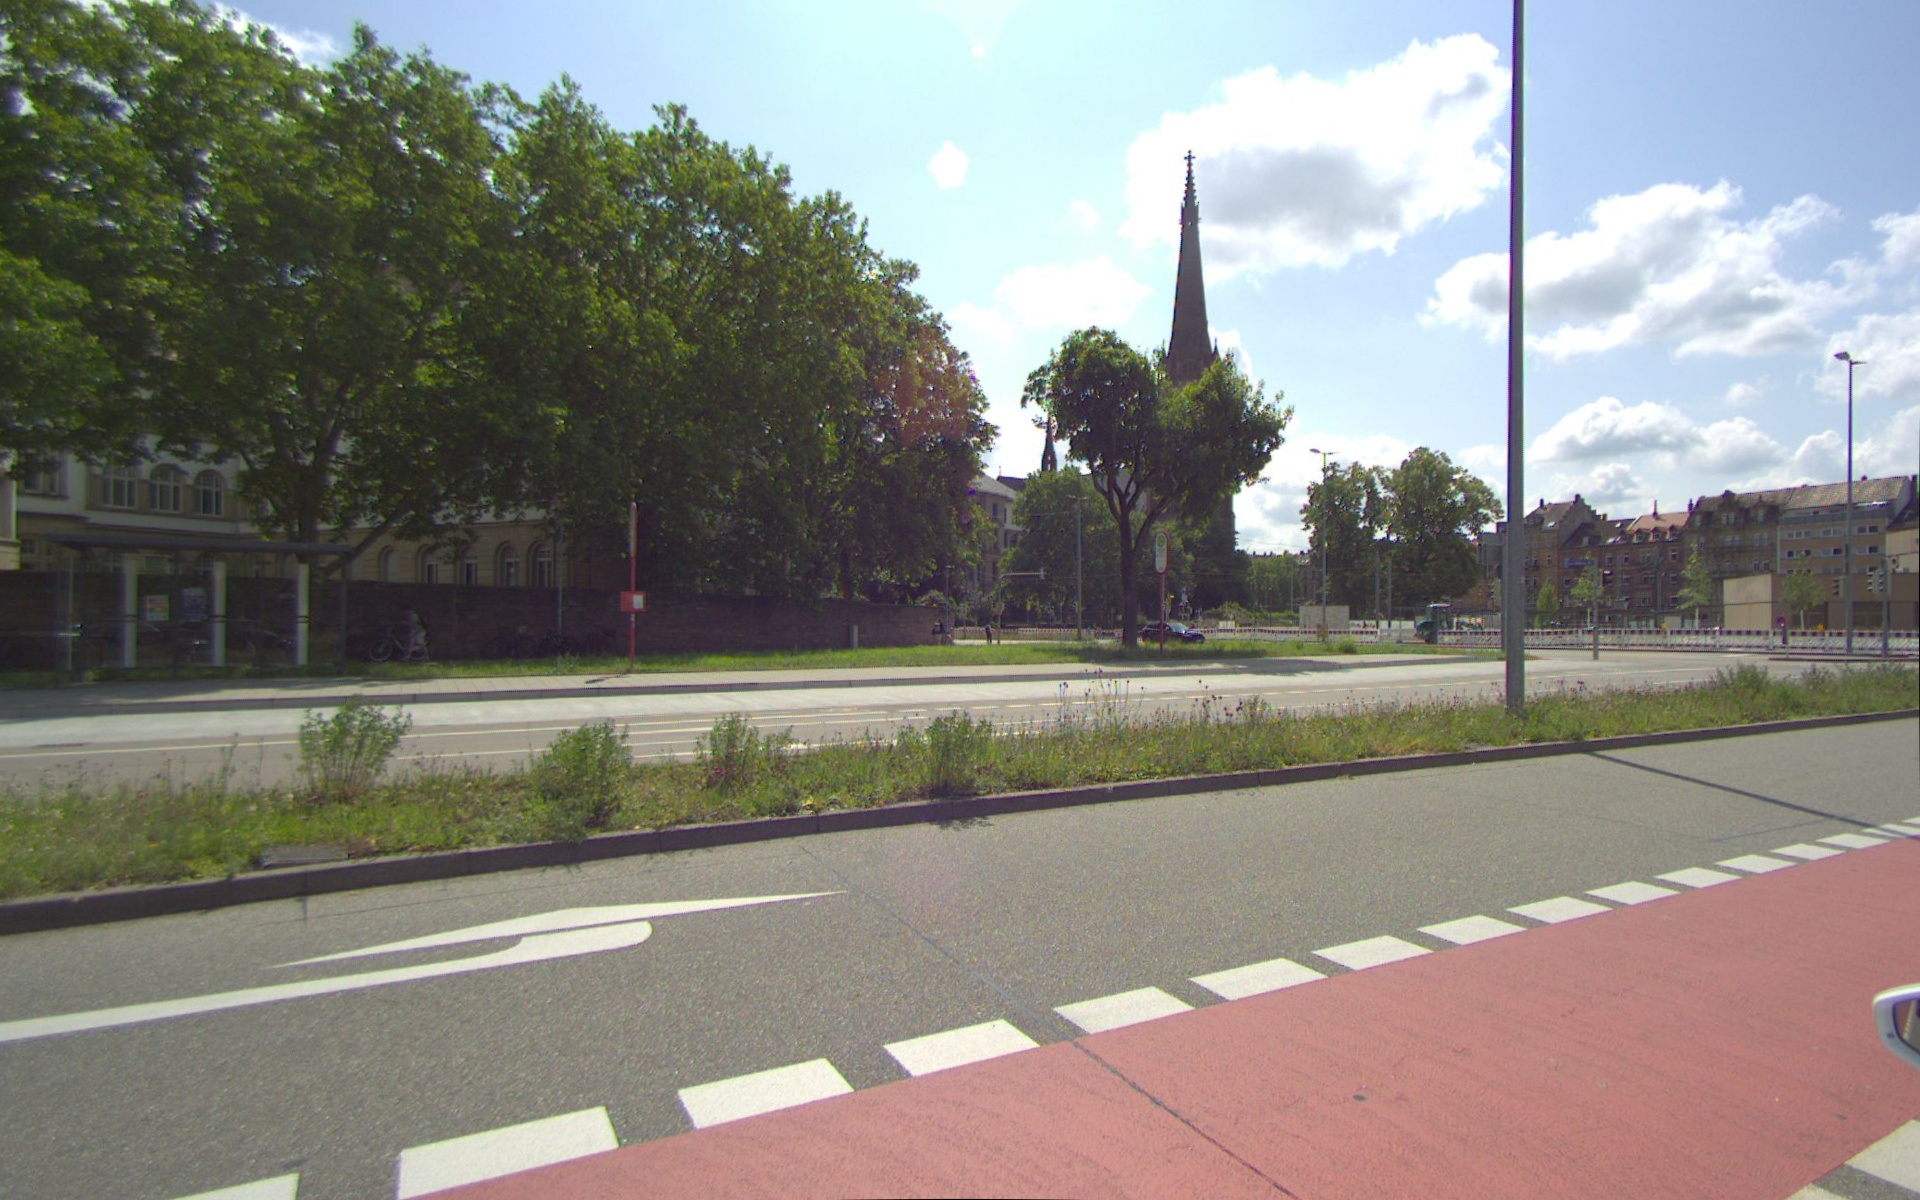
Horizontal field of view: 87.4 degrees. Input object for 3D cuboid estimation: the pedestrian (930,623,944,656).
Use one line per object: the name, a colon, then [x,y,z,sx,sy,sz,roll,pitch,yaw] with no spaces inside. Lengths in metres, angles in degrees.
pedestrian: [-1.210,2.053,52.750,0.479,1.718,0.679,2,0,21]

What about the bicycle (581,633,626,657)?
bicycle: [-12.330,1.556,34.804,0.391,0.799,1.540,0,-1,33]

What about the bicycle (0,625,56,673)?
bicycle: [-21.242,1.083,22.105,0.392,1.057,1.948,0,-1,40]

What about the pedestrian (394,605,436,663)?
pedestrian: [-15.639,0.979,28.838,0.710,1.632,0.779,0,-1,31]

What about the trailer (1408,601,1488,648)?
trailer: [32.301,1.608,66.560,4.277,2.952,2.001,2,0,7]

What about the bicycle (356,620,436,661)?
bicycle: [-16.247,1.162,29.009,0.391,1.152,2.032,0,-1,36]

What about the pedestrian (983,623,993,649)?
pedestrian: [2.067,2.675,74.741,0.561,1.844,0.436,2,0,43]

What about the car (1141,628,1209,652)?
car: [14.091,2.587,66.066,1.976,1.505,4.475,1,-1,-30]

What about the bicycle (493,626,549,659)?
bicycle: [-14.024,1.349,32.125,0.391,1.043,1.683,0,-1,33]

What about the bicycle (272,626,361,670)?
bicycle: [-17.447,1.272,27.271,0.391,1.152,2.032,0,-1,36]

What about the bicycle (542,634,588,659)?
bicycle: [-13.143,1.541,33.457,0.391,0.799,1.462,0,-1,33]
